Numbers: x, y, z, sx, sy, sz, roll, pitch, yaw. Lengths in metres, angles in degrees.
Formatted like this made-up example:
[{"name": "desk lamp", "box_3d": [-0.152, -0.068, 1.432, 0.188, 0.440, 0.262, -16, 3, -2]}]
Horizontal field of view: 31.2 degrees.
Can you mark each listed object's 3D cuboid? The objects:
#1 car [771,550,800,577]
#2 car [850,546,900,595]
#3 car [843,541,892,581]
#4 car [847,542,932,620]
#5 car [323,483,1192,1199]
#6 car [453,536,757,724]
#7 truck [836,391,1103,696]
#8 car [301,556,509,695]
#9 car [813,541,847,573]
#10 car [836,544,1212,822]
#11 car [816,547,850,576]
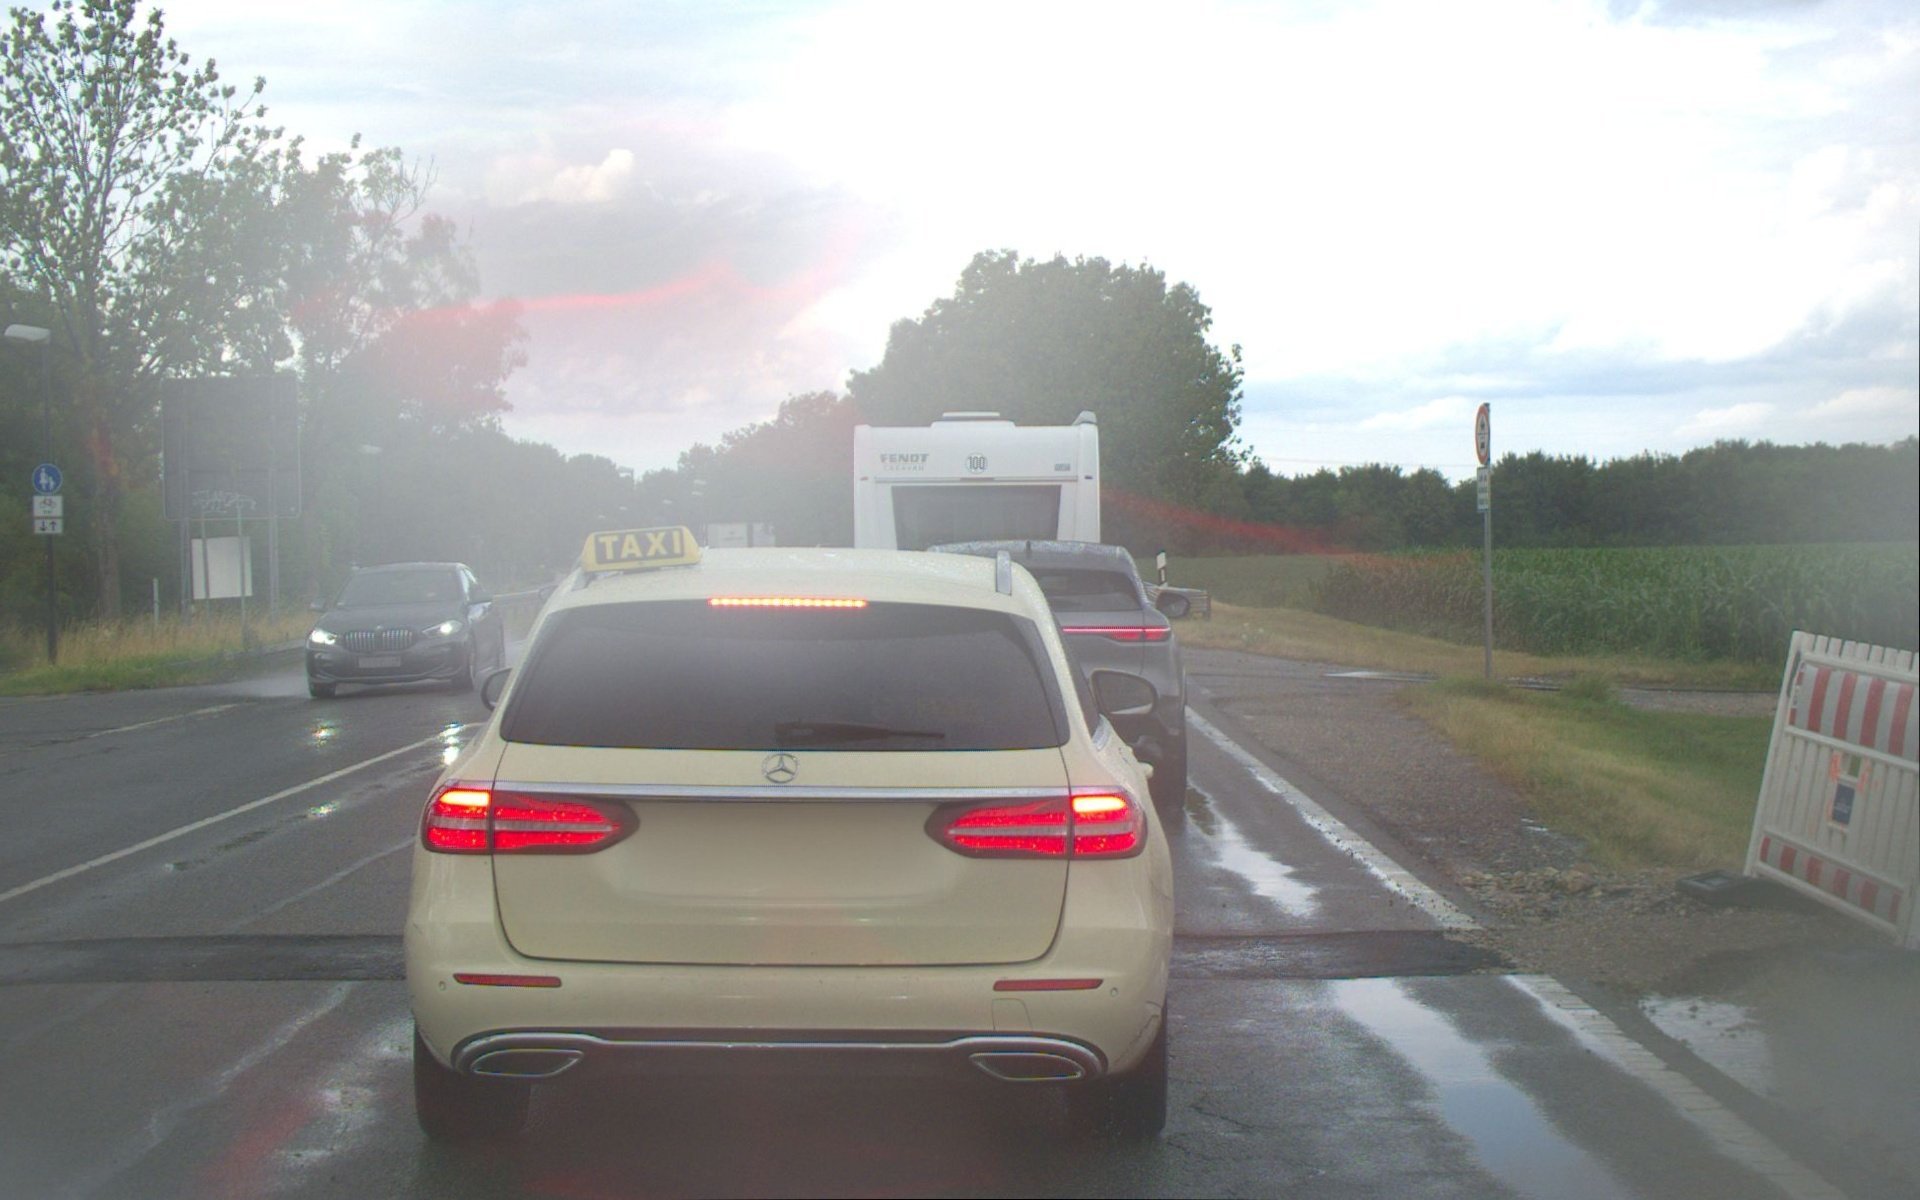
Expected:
[{"name": "car", "box_3d": [-12.556, -2.625, 246.909, 1.895, 1.833, 3.882, -1, 1, -1]}, {"name": "car", "box_3d": [-3.190, -1.131, 129.394, 1.791, 1.771, 3.721, -1, 1, -1]}, {"name": "car", "box_3d": [-4.255, -1.808, 156.959, 1.993, 1.766, 4.001, -1, 1, -4]}, {"name": "car", "box_3d": [-1.737, -0.491, 85.392, 1.915, 1.834, 3.795, -1, 1, 1]}, {"name": "car", "box_3d": [-0.454, 0.532, 9.306, 1.842, 1.612, 4.000, 0, 1, -1]}, {"name": "car", "box_3d": [-3.101, 0.226, 31.051, 2.302, 1.542, 4.633, 1, 1, -1]}, {"name": "truck", "box_3d": [0.045, -0.579, 34.917, 2.363, 2.719, 7.315, -1, 1, -1]}, {"name": "car", "box_3d": [-6.222, 0.249, 38.912, 1.719, 1.399, 4.044, -3, 1, -1]}, {"name": "car", "box_3d": [-7.963, -2.643, 210.341, 1.895, 1.888, 3.844, -1, 1, -4]}, {"name": "car", "box_3d": [0.317, 0.421, 20.407, 1.993, 1.457, 4.000, 1, 1, -1]}, {"name": "car", "box_3d": [-7.285, -2.215, 197.358, 1.748, 1.656, 3.673, -1, 1, -5]}]
